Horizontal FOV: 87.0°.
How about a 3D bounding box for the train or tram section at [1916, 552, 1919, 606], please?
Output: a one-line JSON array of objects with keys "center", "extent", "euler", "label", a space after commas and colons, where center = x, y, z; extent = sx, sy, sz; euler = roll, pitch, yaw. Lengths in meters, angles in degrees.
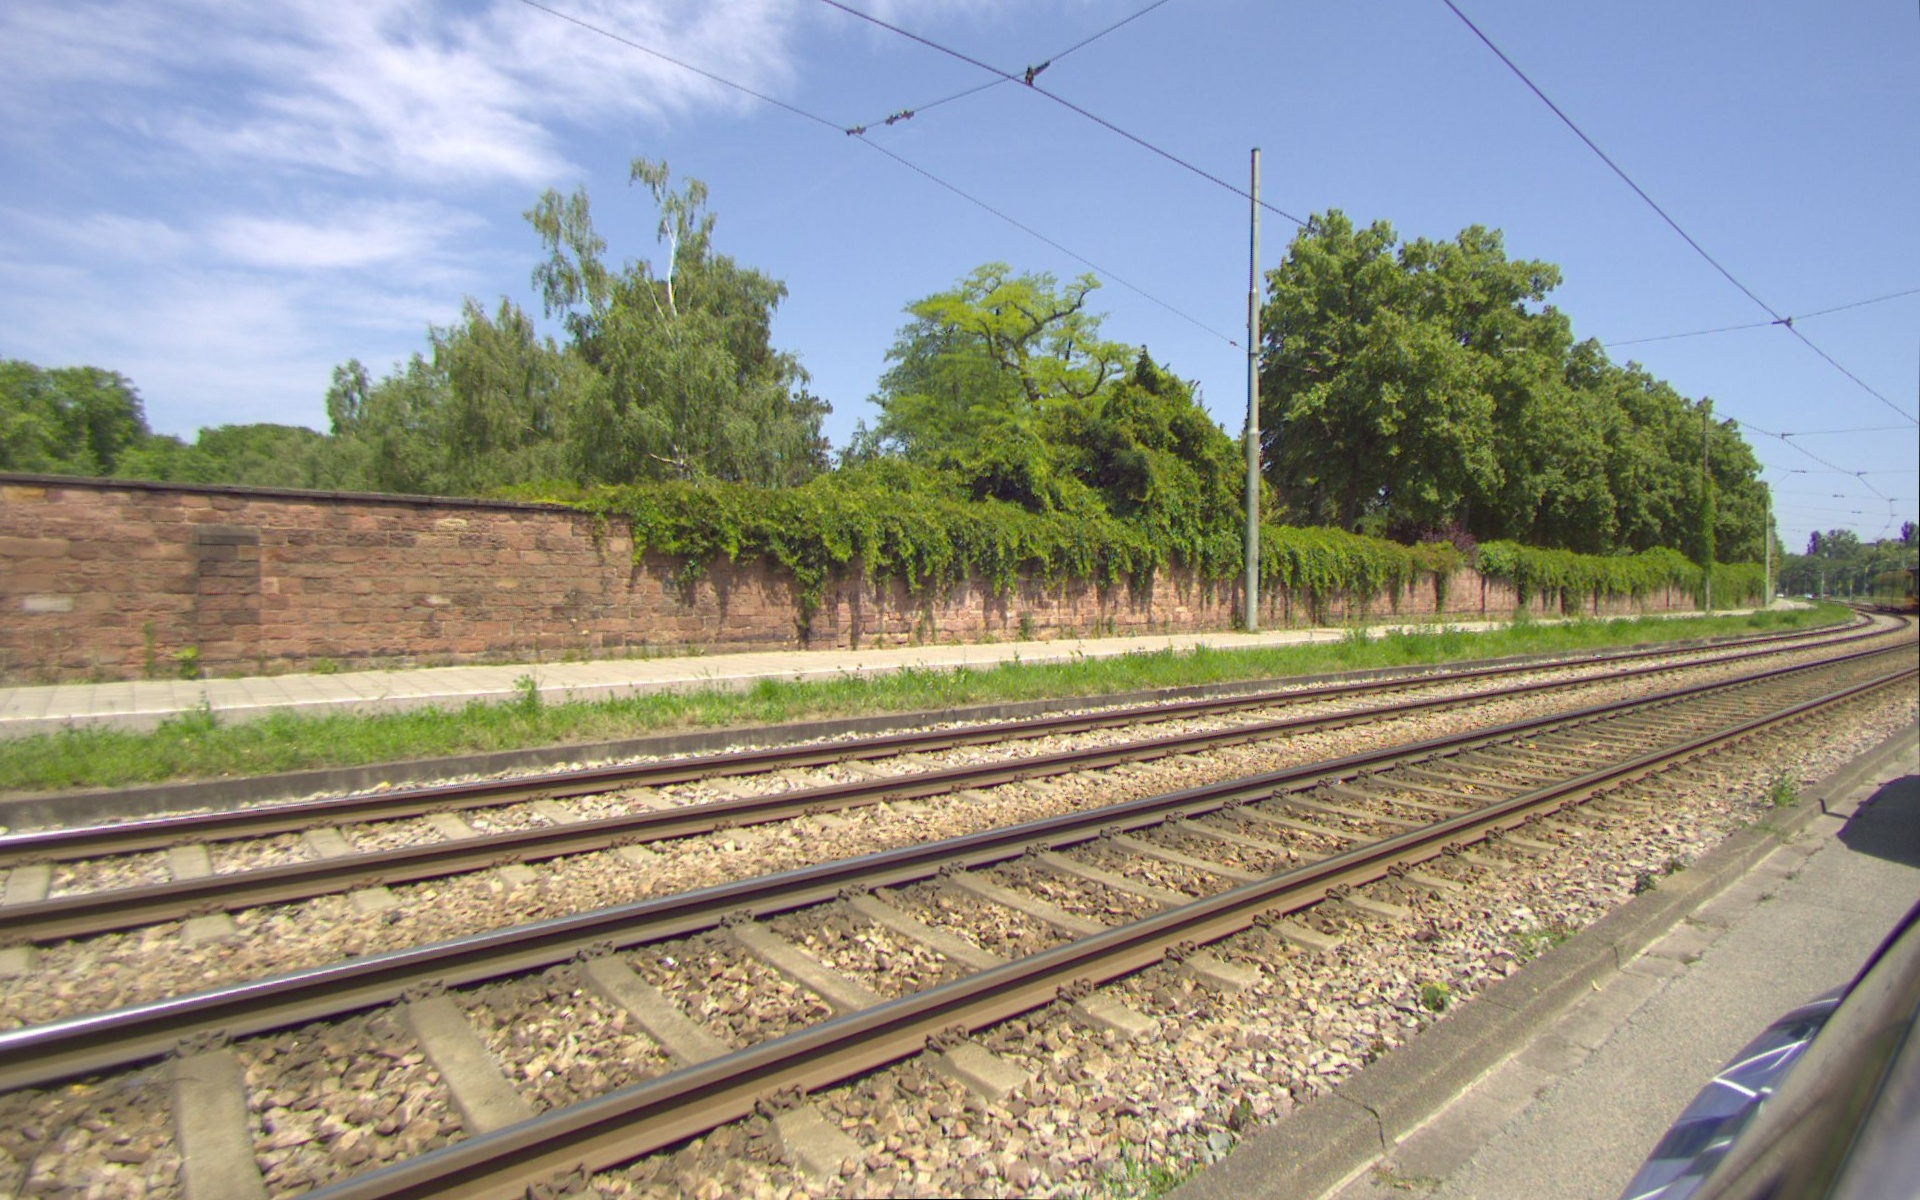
[{"center": [74.206, -1.622, 75.887], "extent": [14.023, 3.855, 2.809], "euler": [-1, 1, -43], "label": "train or tram section"}]
